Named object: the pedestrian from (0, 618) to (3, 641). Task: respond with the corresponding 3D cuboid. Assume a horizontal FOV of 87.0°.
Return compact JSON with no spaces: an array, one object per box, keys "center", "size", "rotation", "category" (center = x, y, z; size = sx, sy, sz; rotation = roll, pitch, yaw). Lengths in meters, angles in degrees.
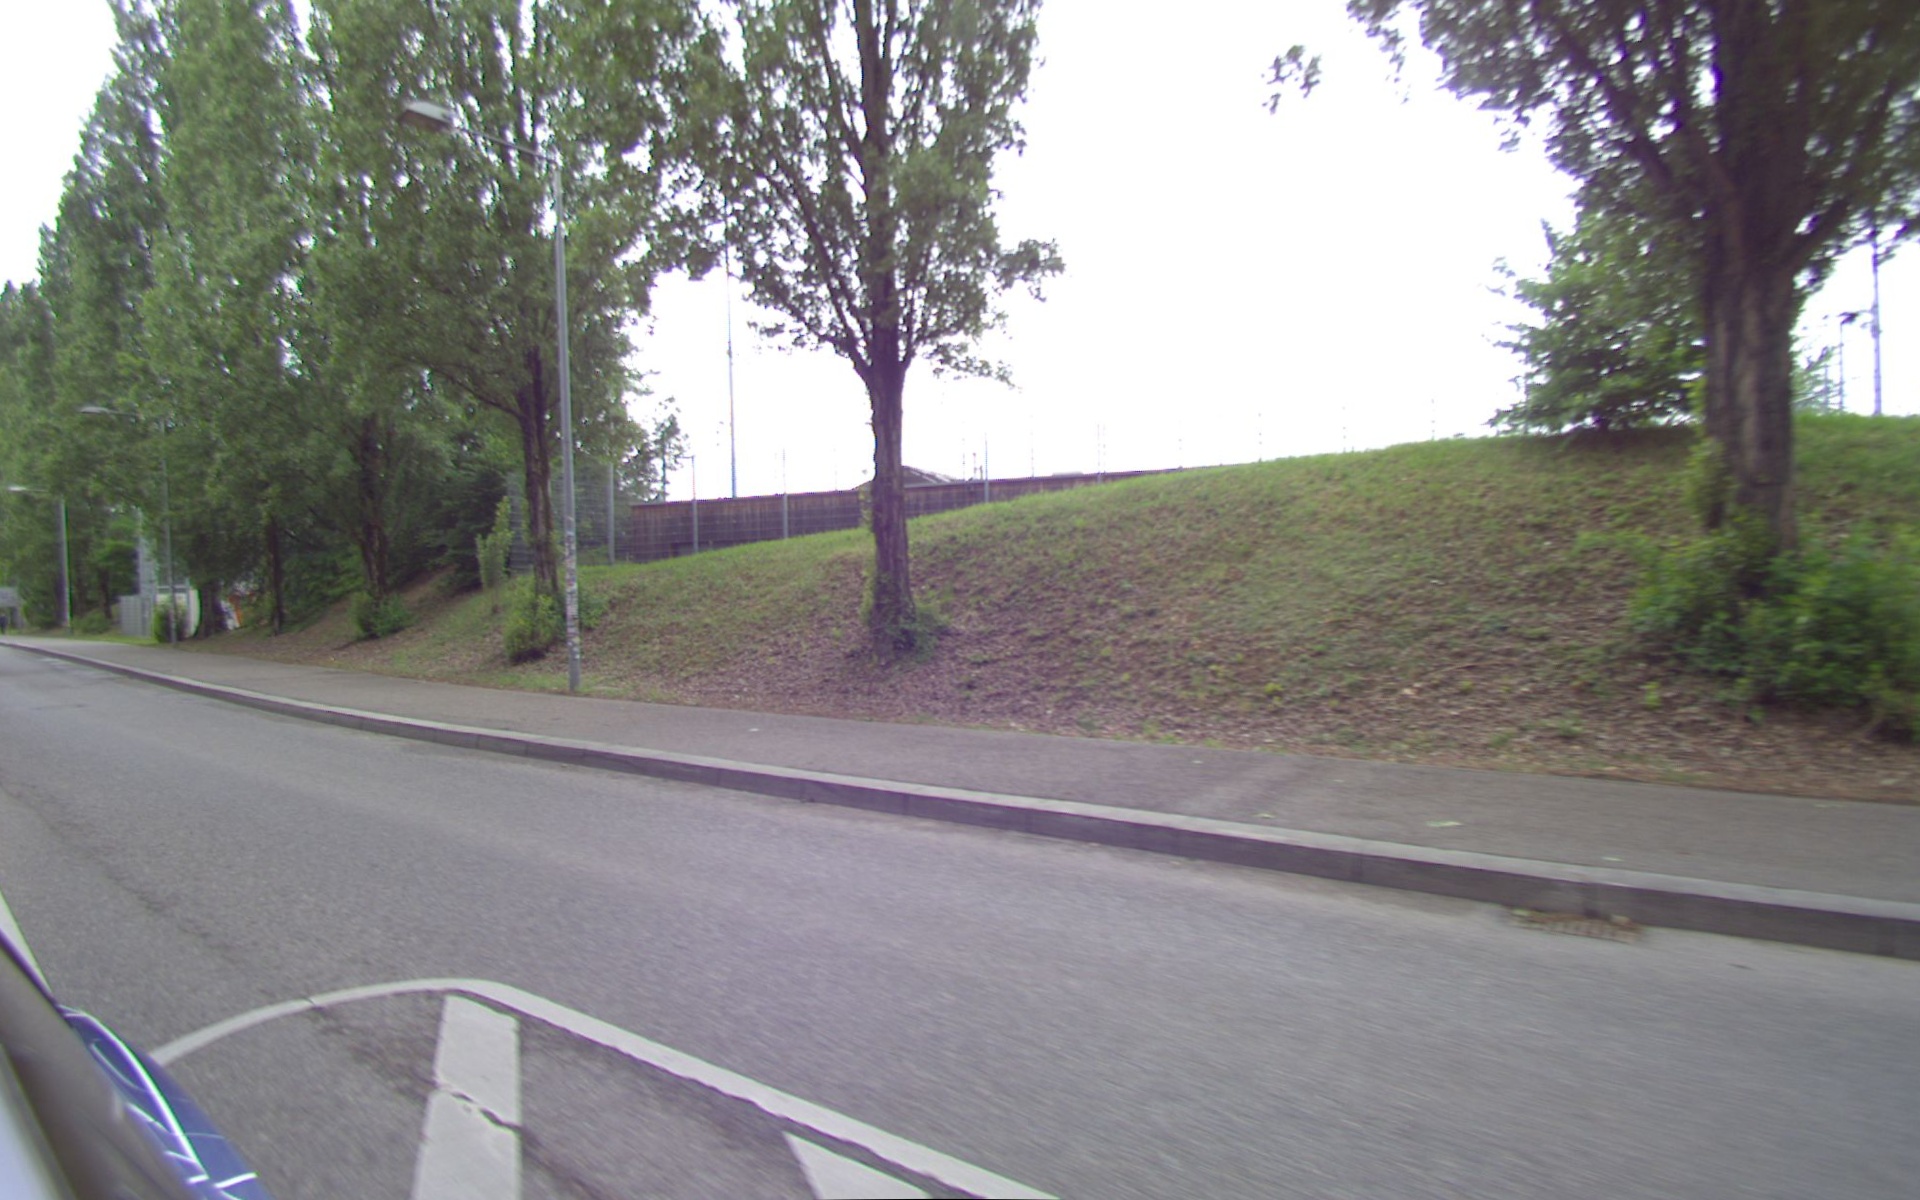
[{"center":[-79.263,2.429,83.347],"size":[0.737,1.908,0.653],"rotation":[-1,-1,43],"category":"pedestrian"}]
